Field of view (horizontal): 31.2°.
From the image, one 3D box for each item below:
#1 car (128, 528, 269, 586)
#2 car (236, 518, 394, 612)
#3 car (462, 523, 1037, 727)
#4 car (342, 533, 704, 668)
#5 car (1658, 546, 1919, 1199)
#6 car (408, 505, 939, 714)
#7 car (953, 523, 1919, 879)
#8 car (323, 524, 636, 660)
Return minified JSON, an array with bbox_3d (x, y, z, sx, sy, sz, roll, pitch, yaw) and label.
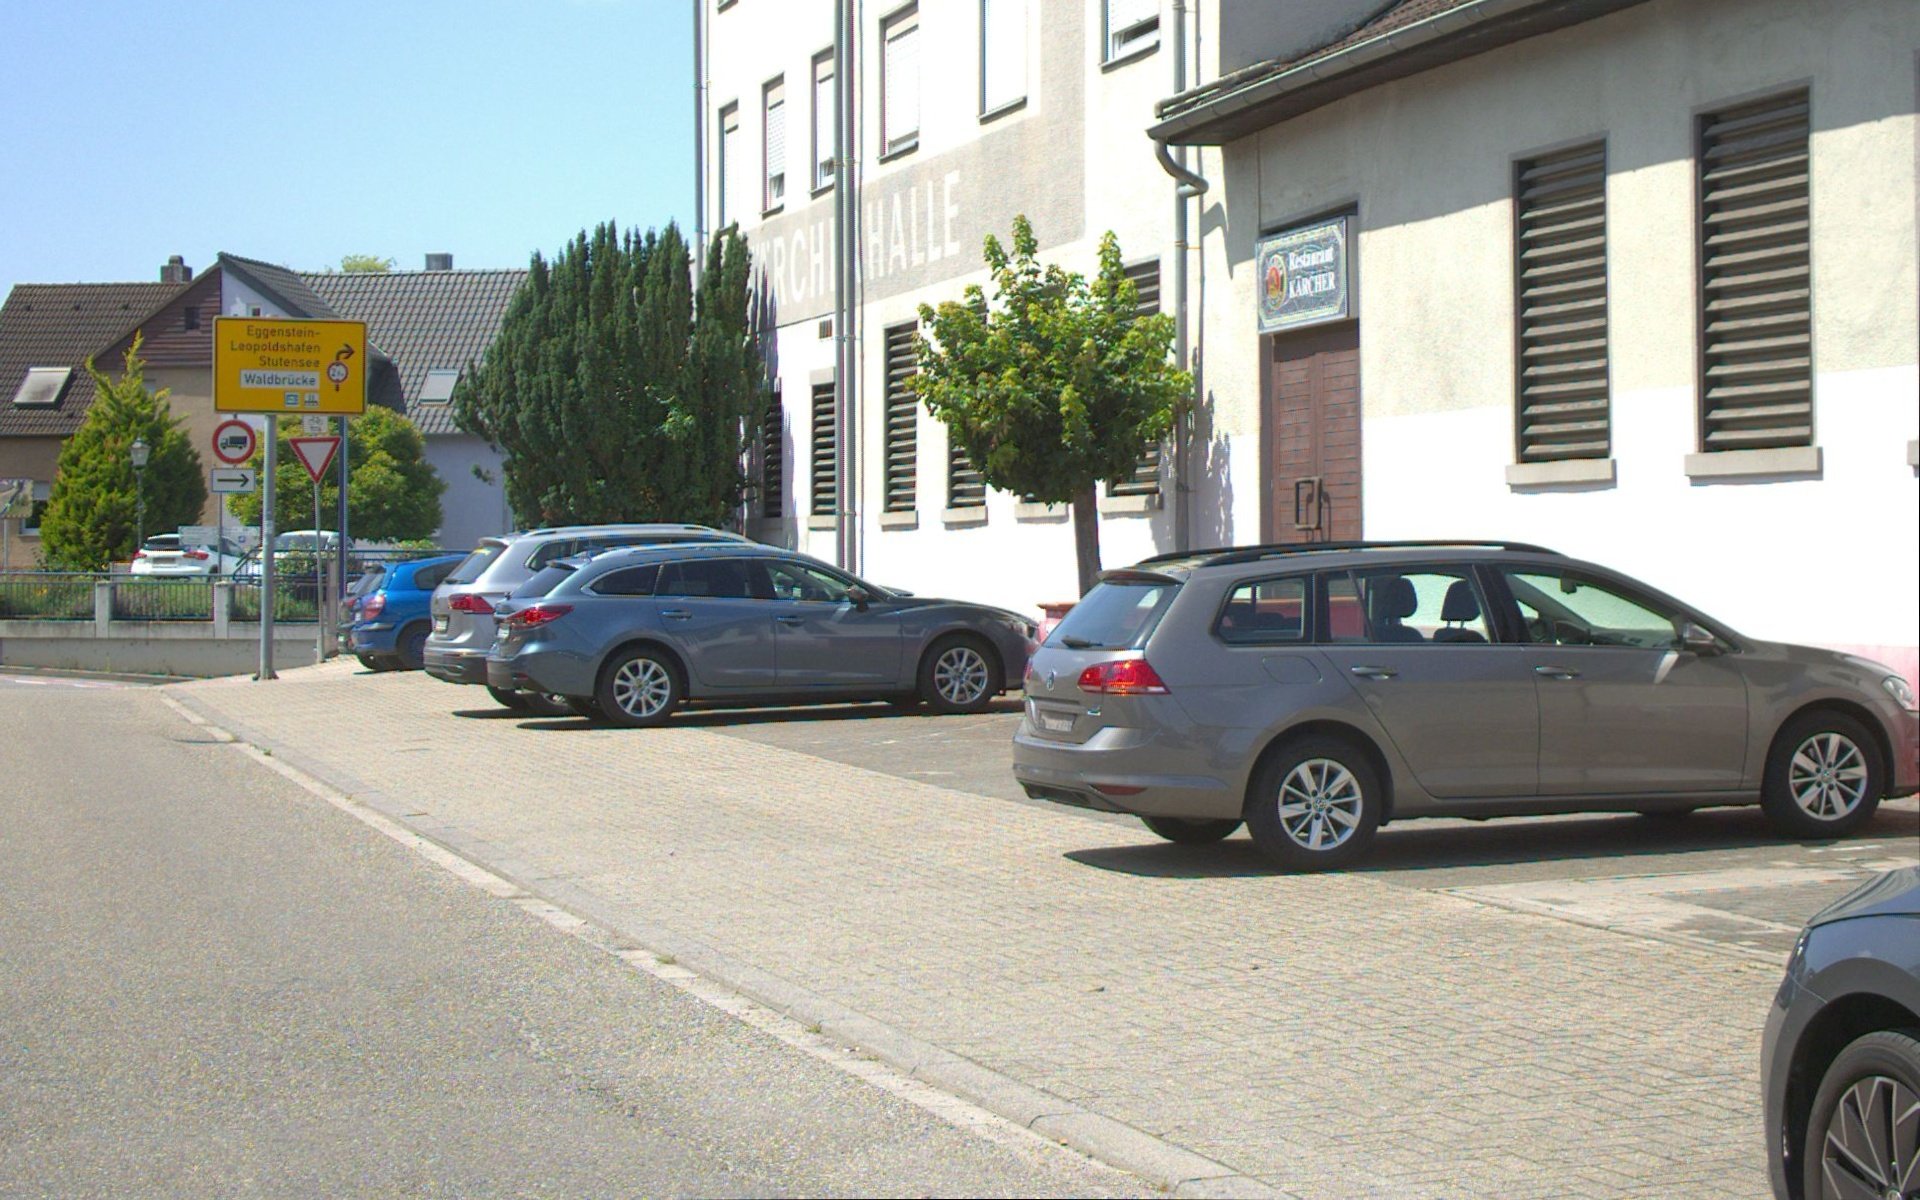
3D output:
[{"bbox_3d":[-16.790,-0.938,75.980,1.826,1.016,3.457,4,-1,9],"label":"car"},{"bbox_3d":[-14.154,-0.745,75.694,1.994,1.791,4.194,4,-1,9],"label":"car"},{"bbox_3d":[-1.818,0.170,29.324,4.499,1.514,2.001,-2,1,-18],"label":"car"},{"bbox_3d":[-5.674,0.008,44.540,4.321,1.435,1.780,-4,-1,-18],"label":"car"},{"bbox_3d":[2.811,0.660,5.072,1.627,1.484,4.141,-1,1,-19],"label":"car"},{"bbox_3d":[-2.633,0.050,31.452,4.452,1.691,1.923,-2,1,-19],"label":"car"},{"bbox_3d":[2.430,0.418,16.780,4.525,1.449,1.919,-2,1,-17],"label":"car"},{"bbox_3d":[-6.671,-0.110,47.653,3.894,1.485,1.810,-6,1,-19],"label":"car"}]
